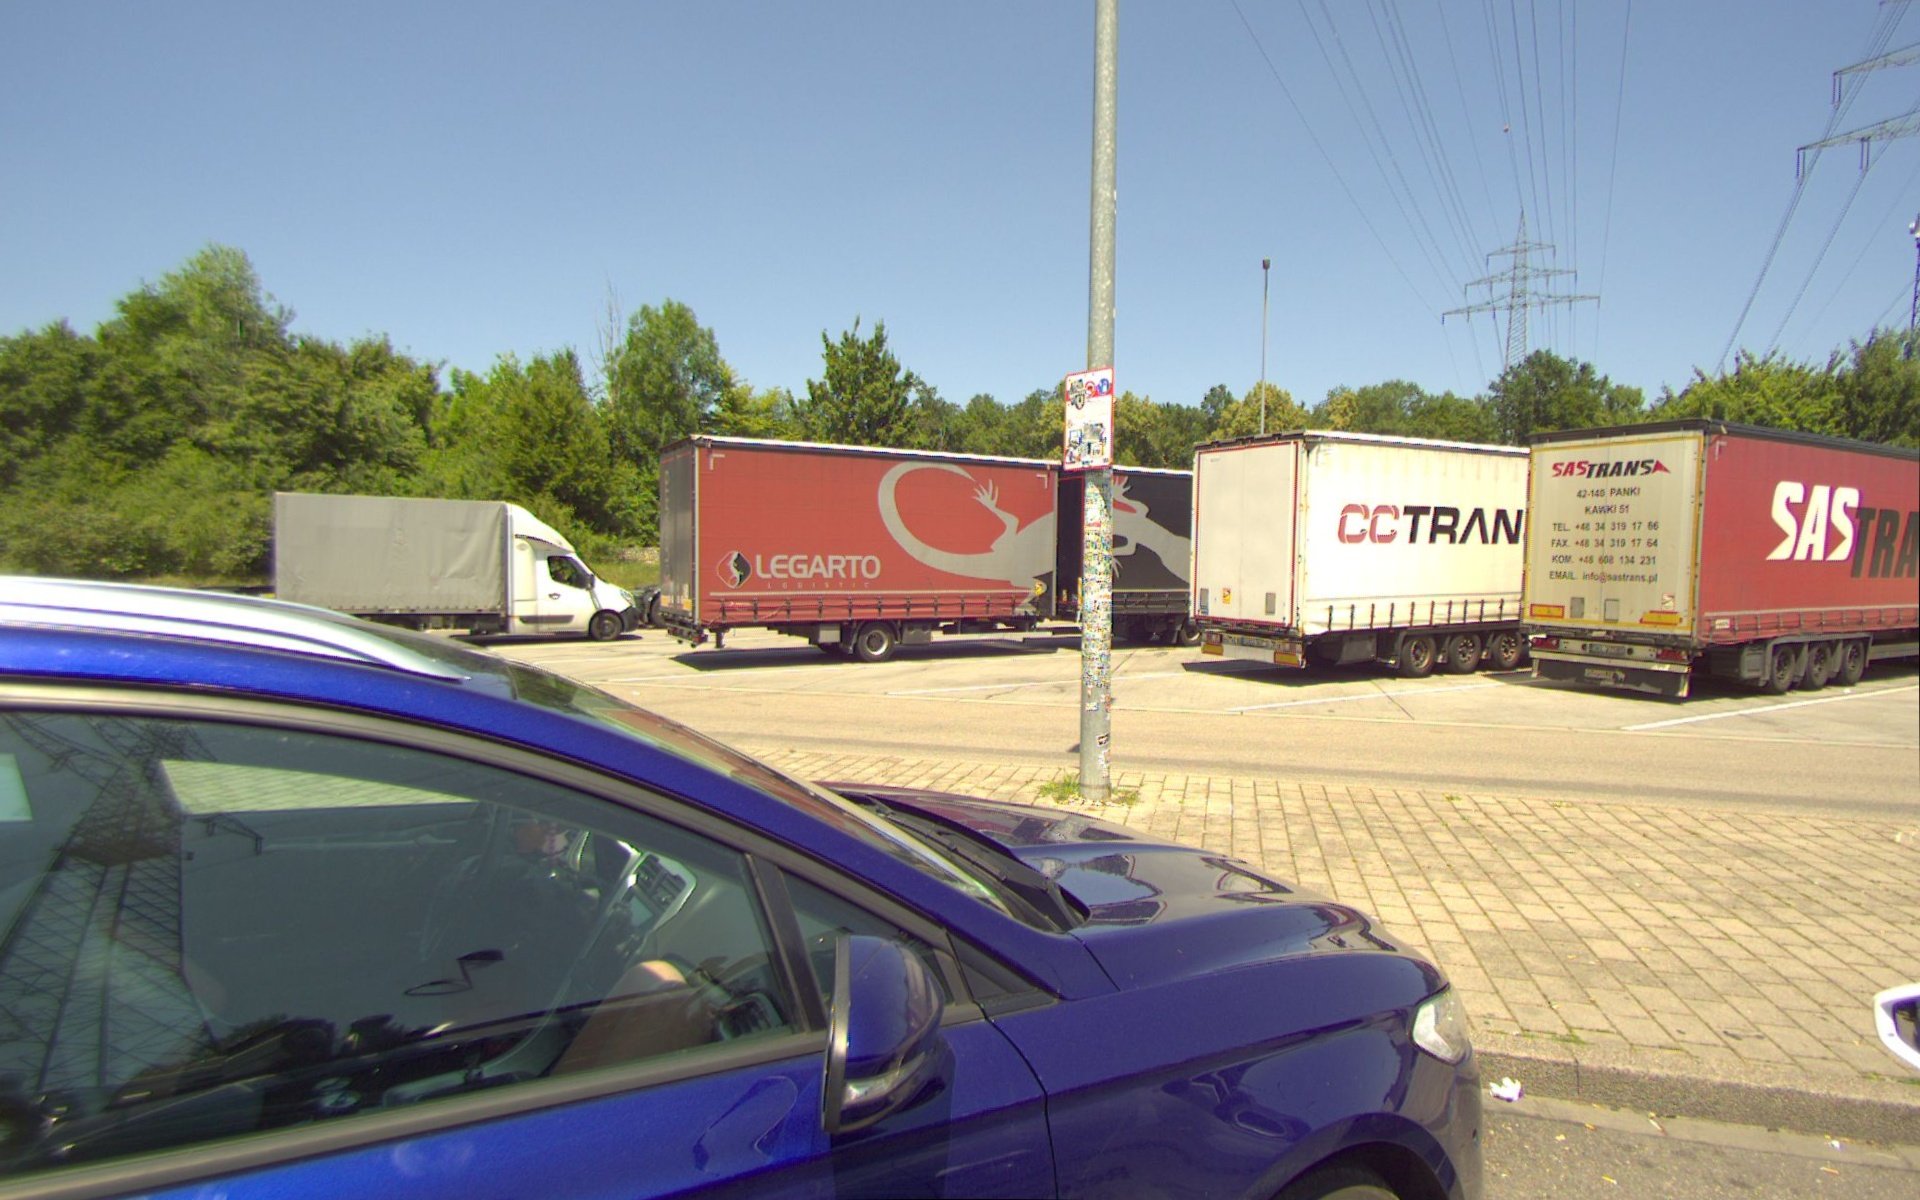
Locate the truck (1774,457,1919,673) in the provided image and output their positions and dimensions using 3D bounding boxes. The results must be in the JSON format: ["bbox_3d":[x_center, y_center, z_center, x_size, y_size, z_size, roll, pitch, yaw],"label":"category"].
[{"bbox_3d":[20.821,-0.673,21.782,6.749,4.136,2.729,0,1,-31],"label":"truck"}]

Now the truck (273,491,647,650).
[{"bbox_3d":[-11.089,-0.607,22.872,7.263,3.170,2.353,0,1,-30],"label":"truck"}]

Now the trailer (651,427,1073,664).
[{"bbox_3d":[-1.788,-0.919,20.316,8.158,4.027,2.651,0,1,-31],"label":"trailer"}]

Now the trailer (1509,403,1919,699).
[{"bbox_3d":[15.288,-0.671,18.508,13.129,4.112,2.736,0,1,-31],"label":"trailer"}]

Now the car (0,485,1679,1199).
[{"bbox_3d":[-1.004,0.652,1.471,4.419,1.485,1.765,0,1,-32],"label":"car"}]

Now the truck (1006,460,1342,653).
[{"bbox_3d":[5.403,-0.911,24.590,8.534,4.073,2.624,0,1,-30],"label":"truck"}]

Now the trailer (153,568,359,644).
[{"bbox_3d":[-16.503,0.144,23.781,3.856,1.684,1.464,0,1,-30],"label":"trailer"}]

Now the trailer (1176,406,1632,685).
[{"bbox_3d":[8.714,-0.830,19.115,9.614,4.321,2.733,0,1,-29],"label":"trailer"}]
